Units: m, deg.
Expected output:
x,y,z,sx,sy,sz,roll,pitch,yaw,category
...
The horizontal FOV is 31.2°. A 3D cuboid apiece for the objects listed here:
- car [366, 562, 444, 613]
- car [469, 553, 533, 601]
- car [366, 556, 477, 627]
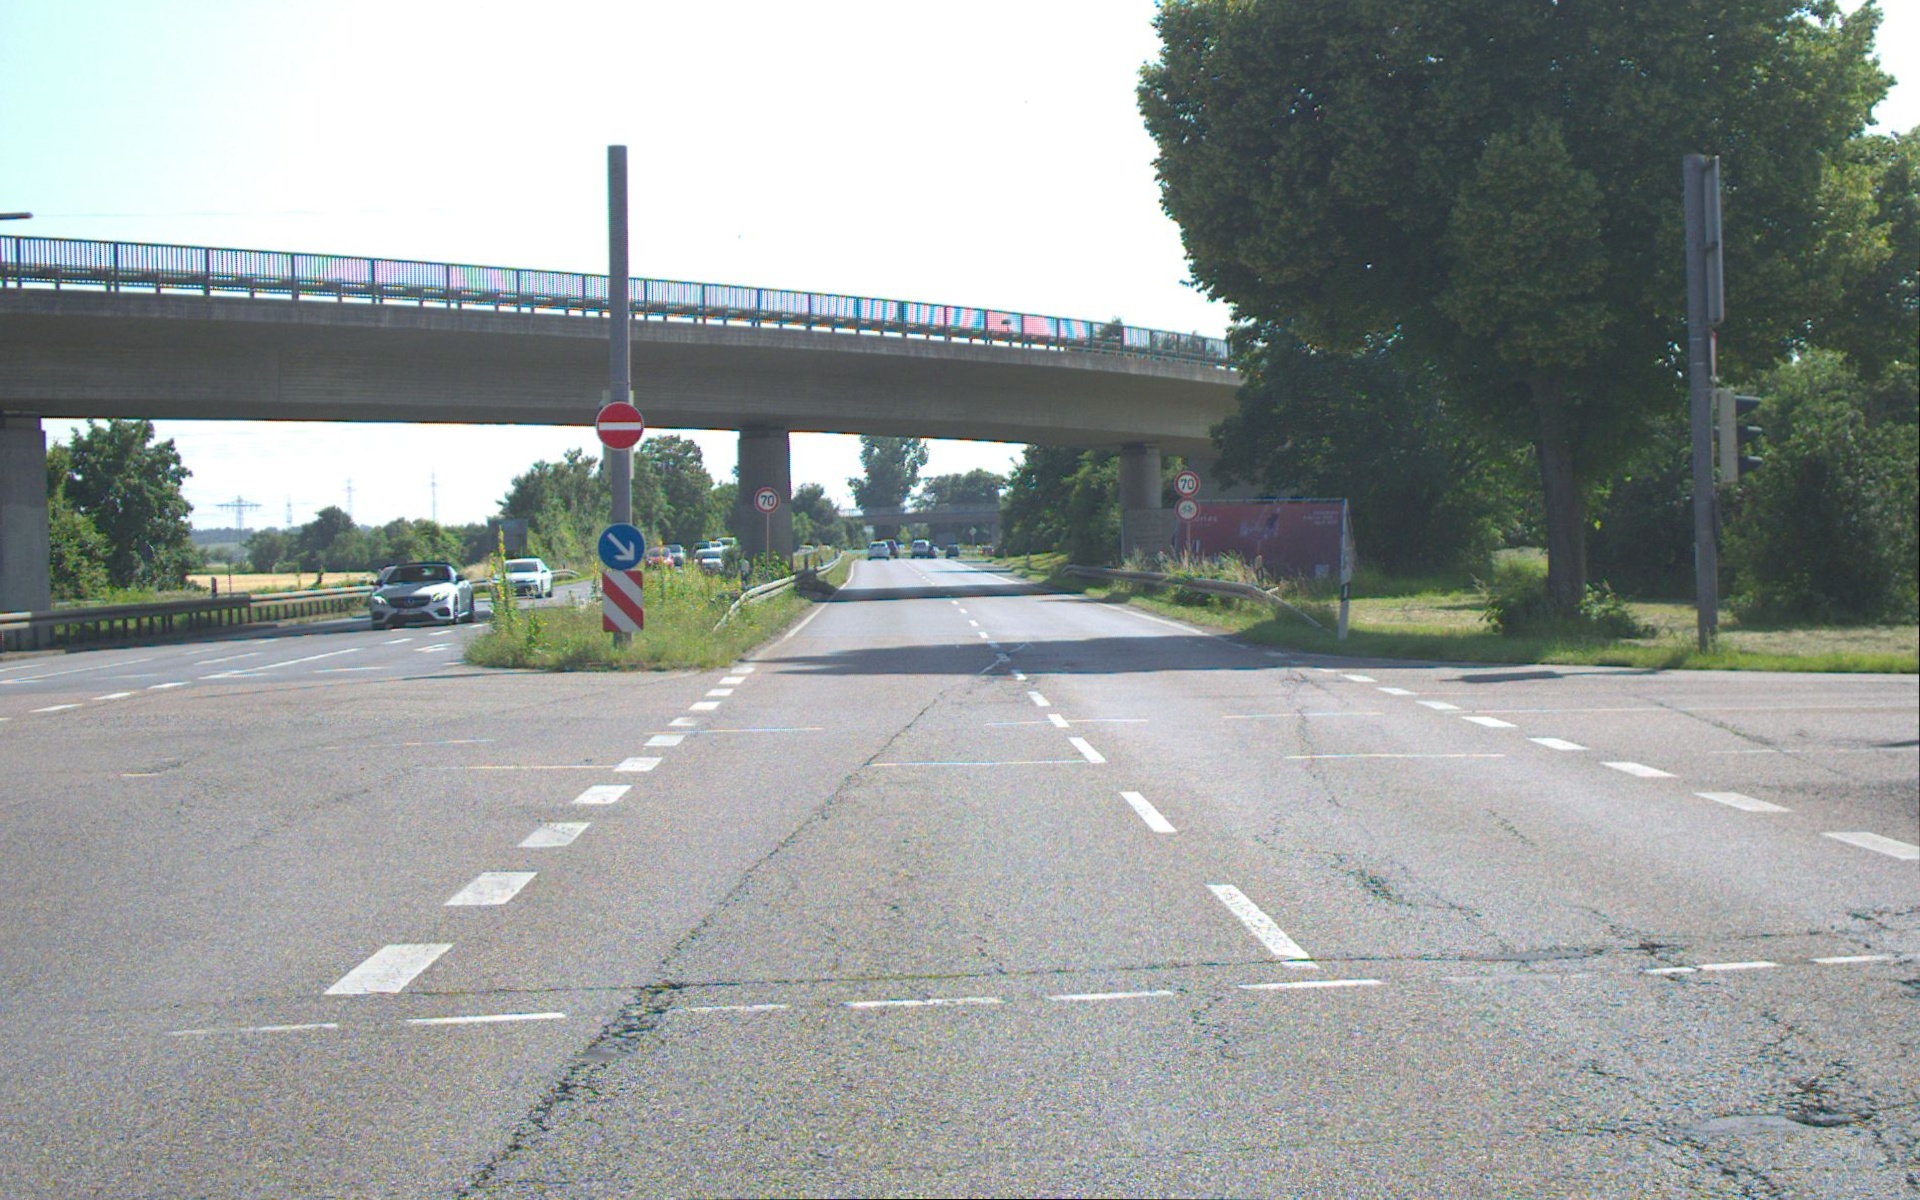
x,y,z,sx,sy,sz,roll,pitch,yaw,category
-16.109,-0.381,99.910,1.640,1.380,4.241,-2,1,-1,car
-16.240,-0.825,121.897,1.790,1.622,4.000,-2,1,-2,car
-12.108,-0.223,77.511,1.856,1.443,4.241,-3,1,-1,car
